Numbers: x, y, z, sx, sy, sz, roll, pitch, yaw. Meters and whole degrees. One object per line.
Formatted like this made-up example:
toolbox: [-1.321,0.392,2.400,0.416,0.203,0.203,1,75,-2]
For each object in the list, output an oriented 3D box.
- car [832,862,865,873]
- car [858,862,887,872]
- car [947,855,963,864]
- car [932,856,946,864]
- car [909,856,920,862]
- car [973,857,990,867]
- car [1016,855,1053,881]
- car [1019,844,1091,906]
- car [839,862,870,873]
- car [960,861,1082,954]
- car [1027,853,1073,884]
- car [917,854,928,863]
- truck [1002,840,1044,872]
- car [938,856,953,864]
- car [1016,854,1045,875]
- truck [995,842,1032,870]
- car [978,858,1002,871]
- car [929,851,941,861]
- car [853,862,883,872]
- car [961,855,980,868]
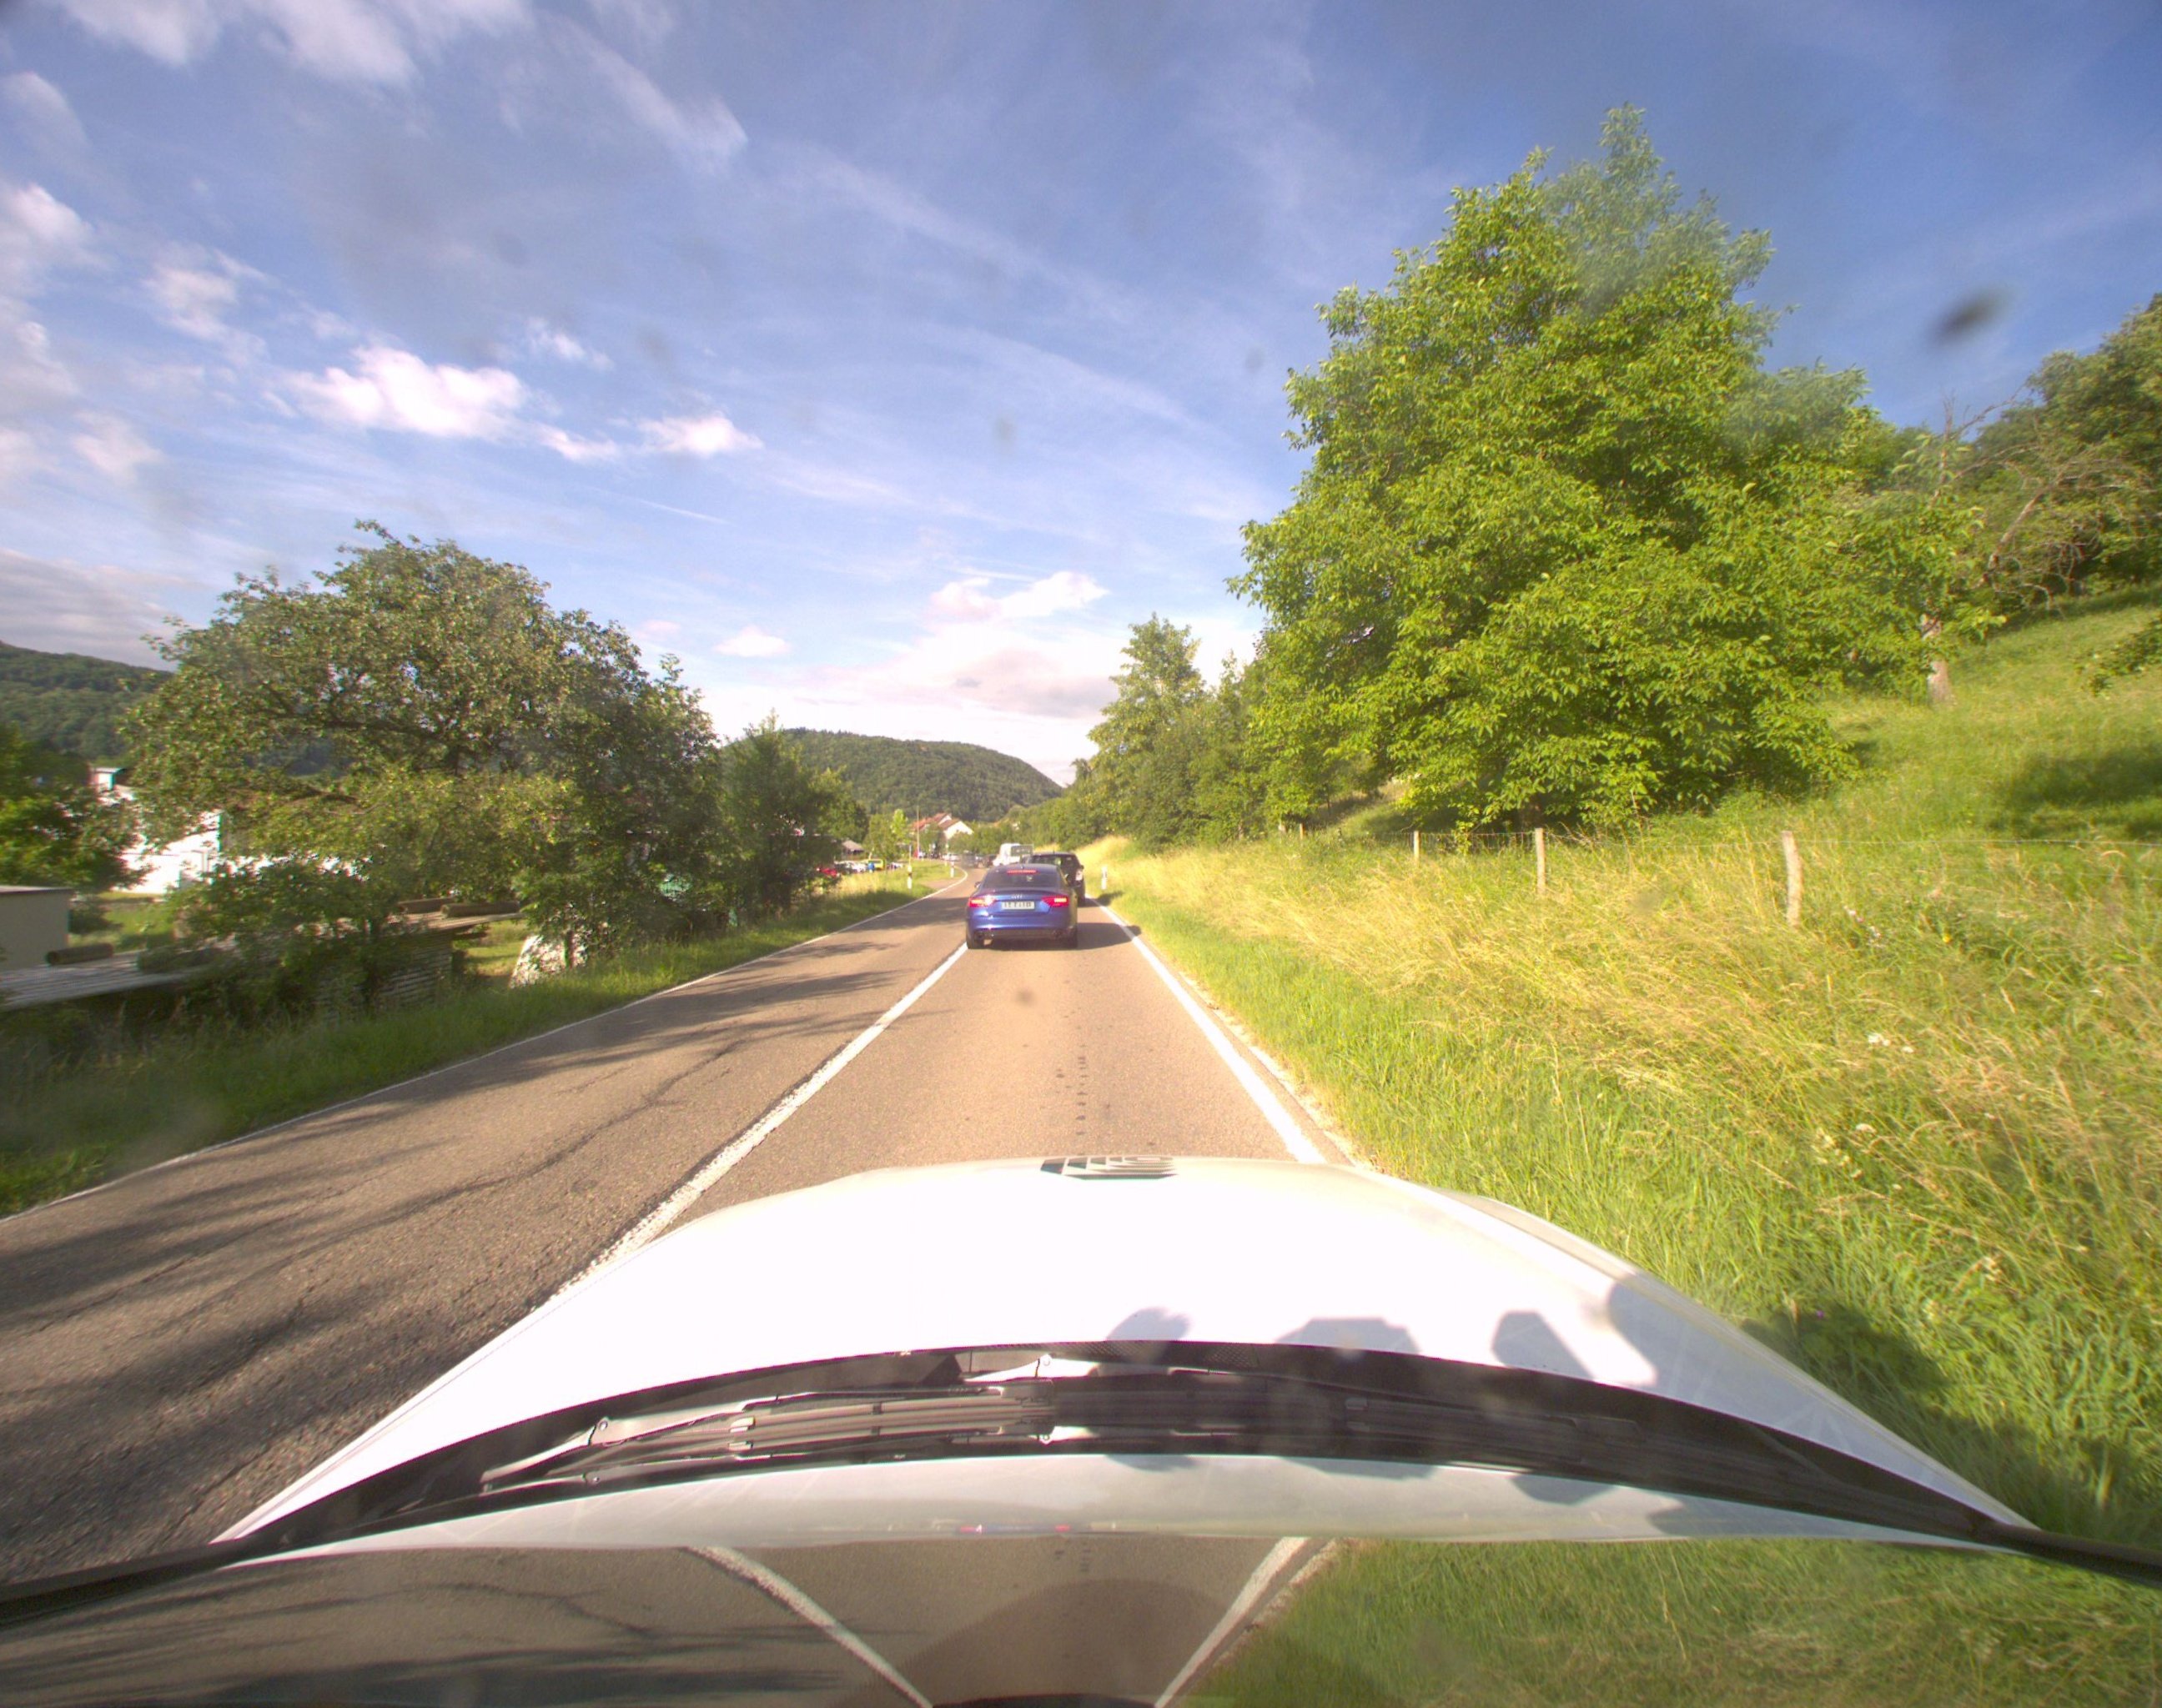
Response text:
car: [-32.037,1.856,112.245,3.974,1.553,1.782,0,-1,-1]
car: [-31.714,1.960,124.071,3.974,1.553,1.782,0,-1,-1]
car: [-22.233,0.951,143.988,2.001,1.482,3.972,0,-1,-21]
car: [-27.783,1.185,159.295,2.001,1.482,3.972,0,-1,-21]
car: [-39.128,1.192,191.204,2.001,1.482,3.972,0,-1,-21]
car: [-14.675,1.193,120.277,1.997,1.482,3.979,0,-1,-15]
car: [-2.908,0.825,49.690,1.992,1.482,3.990,0,-1,-7]
car: [-0.734,0.609,24.775,1.987,1.702,3.998,0,-1,-1]
car: [-32.075,1.885,115.440,3.974,1.553,1.782,0,-1,-1]
car: [-0.917,0.832,14.463,1.788,1.360,4.000,-1,0,0]
car: [-1.544,0.685,39.618,1.991,1.387,3.992,0,-1,-6]
car: [-35.594,0.937,182.738,2.000,2.014,3.973,0,-1,-20]
truck: [-5.296,0.157,72.572,2.864,2.665,10.359,0,0,-9]
car: [-24.980,1.057,150.419,2.001,1.482,3.972,0,-1,-21]
car: [-3.876,0.785,61.842,1.991,1.482,3.992,0,-1,-6]
truck: [-6.978,0.222,82.993,2.864,2.665,10.610,0,0,-9]
car: [-10.701,1.216,95.545,2.000,1.482,3.974,0,-1,-19]
car: [-30.792,0.360,171.773,2.000,2.014,3.973,0,-1,-20]
car: [-31.823,1.939,121.633,3.974,1.553,1.782,0,-1,-1]
car: [-12.364,0.837,91.119,1.992,1.376,3.989,0,-1,-8]
